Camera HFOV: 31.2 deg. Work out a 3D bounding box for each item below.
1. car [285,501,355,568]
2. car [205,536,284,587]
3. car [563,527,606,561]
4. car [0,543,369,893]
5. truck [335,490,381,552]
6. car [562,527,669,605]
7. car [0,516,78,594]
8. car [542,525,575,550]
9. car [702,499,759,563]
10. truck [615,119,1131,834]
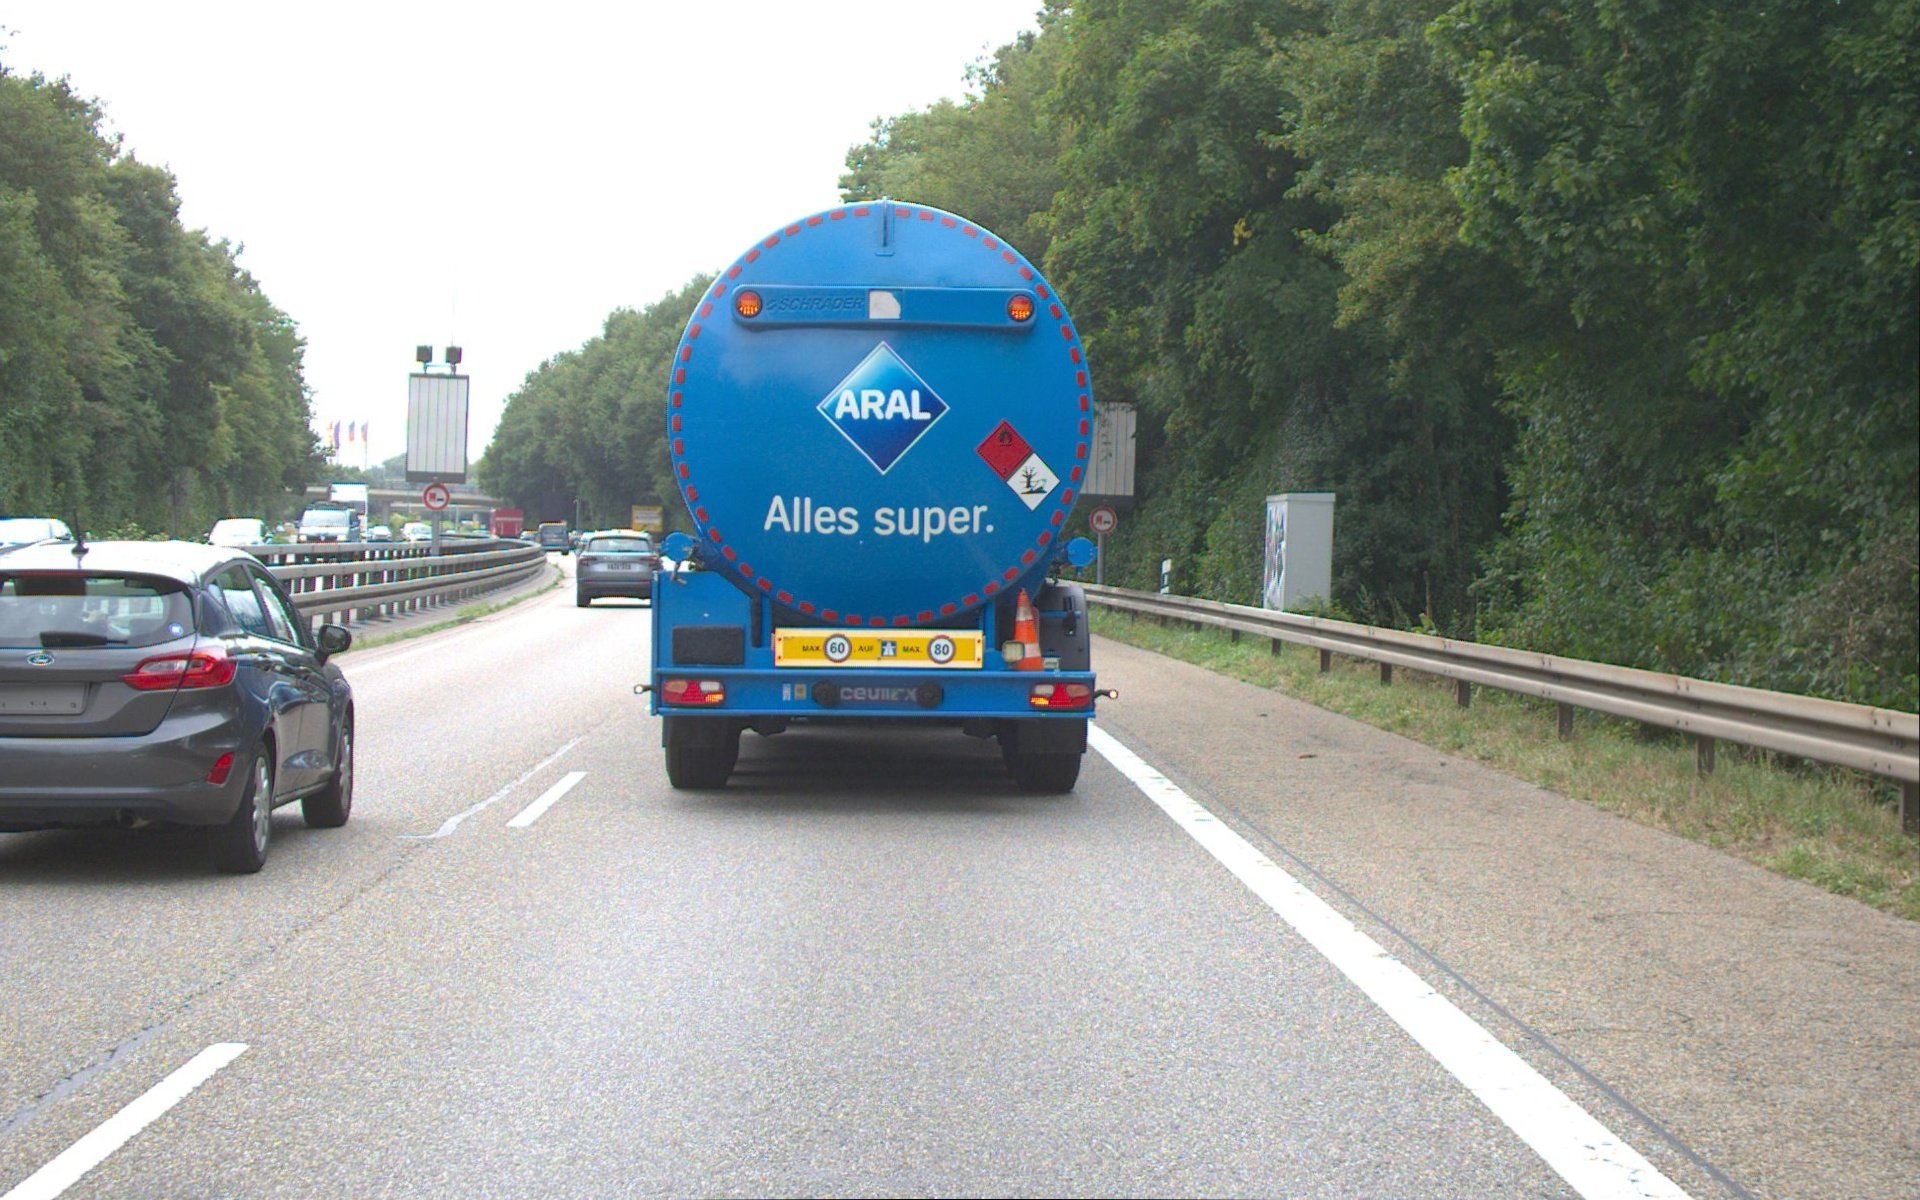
[{"bbox_3d":[-22.784,-2.314,122.524,1.935,2.313,5.306,0,1,-5],"label":"car"},{"bbox_3d":[-21.387,-1.156,102.843,1.694,1.461,4.090,0,1,-3],"label":"car"},{"bbox_3d":[-17.606,-2.620,160.879,1.954,1.562,4.001,0,1,-7],"label":"car"},{"bbox_3d":[-3.959,0.459,16.596,1.826,1.453,4.640,0,1,-5],"label":"car"},{"bbox_3d":[-39.647,-5.175,226.589,2.692,4.049,5.324,0,1,-7],"label":"truck"},{"bbox_3d":[-7.312,-0.738,73.290,1.826,1.604,4.167,0,1,1],"label":"car"},{"bbox_3d":[-19.043,-0.895,68.414,1.993,1.504,4.505,0,1,-2],"label":"car"},{"bbox_3d":[-25.062,-3.901,214.451,1.993,1.546,4.001,0,1,-8],"label":"car"},{"bbox_3d":[-8.281,-2.473,124.128,1.993,2.237,4.001,0,1,-4],"label":"car"},{"bbox_3d":[-0.452,-0.737,22.345,2.755,3.833,7.689,0,1,0],"label":"truck"}]
